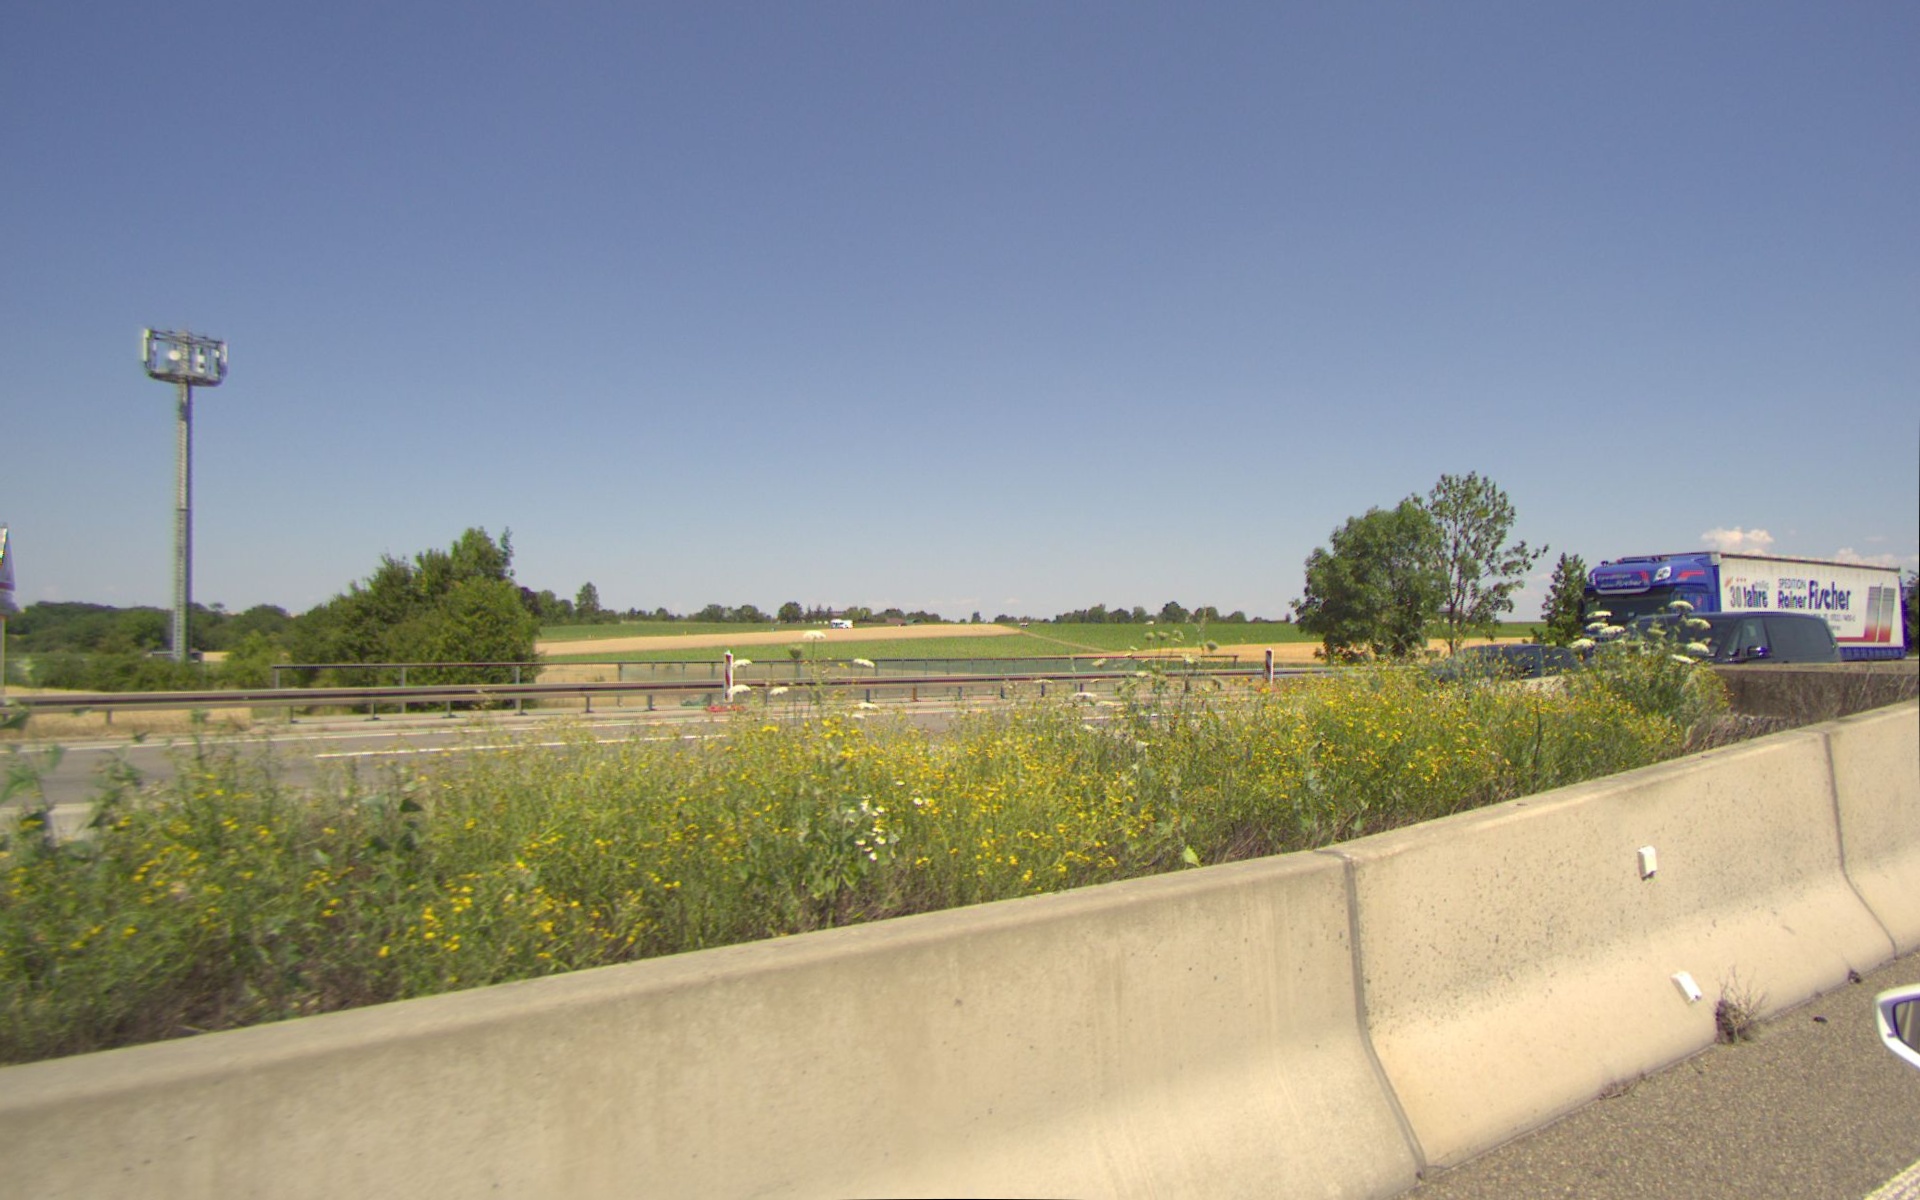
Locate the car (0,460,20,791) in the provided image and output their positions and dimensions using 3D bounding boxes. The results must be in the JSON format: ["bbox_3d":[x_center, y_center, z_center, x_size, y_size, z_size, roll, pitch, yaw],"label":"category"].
[{"bbox_3d":[-7.396,0.088,4.144,4.739,1.971,1.984,1,-2,-31],"label":"car"}]

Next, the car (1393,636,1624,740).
[{"bbox_3d":[9.910,1.483,18.097,4.048,1.676,1.879,1,-2,-31],"label":"car"}]

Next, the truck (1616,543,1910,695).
[{"bbox_3d":[26.736,0.762,33.017,13.957,4.293,2.581,1,-4,-31],"label":"truck"}]

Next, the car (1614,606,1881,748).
[{"bbox_3d":[12.509,1.144,15.892,4.562,1.971,1.804,1,-2,-31],"label":"car"}]

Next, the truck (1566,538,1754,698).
[{"bbox_3d":[20.367,0.617,29.231,4.797,4.293,2.581,1,-4,-30],"label":"truck"}]
